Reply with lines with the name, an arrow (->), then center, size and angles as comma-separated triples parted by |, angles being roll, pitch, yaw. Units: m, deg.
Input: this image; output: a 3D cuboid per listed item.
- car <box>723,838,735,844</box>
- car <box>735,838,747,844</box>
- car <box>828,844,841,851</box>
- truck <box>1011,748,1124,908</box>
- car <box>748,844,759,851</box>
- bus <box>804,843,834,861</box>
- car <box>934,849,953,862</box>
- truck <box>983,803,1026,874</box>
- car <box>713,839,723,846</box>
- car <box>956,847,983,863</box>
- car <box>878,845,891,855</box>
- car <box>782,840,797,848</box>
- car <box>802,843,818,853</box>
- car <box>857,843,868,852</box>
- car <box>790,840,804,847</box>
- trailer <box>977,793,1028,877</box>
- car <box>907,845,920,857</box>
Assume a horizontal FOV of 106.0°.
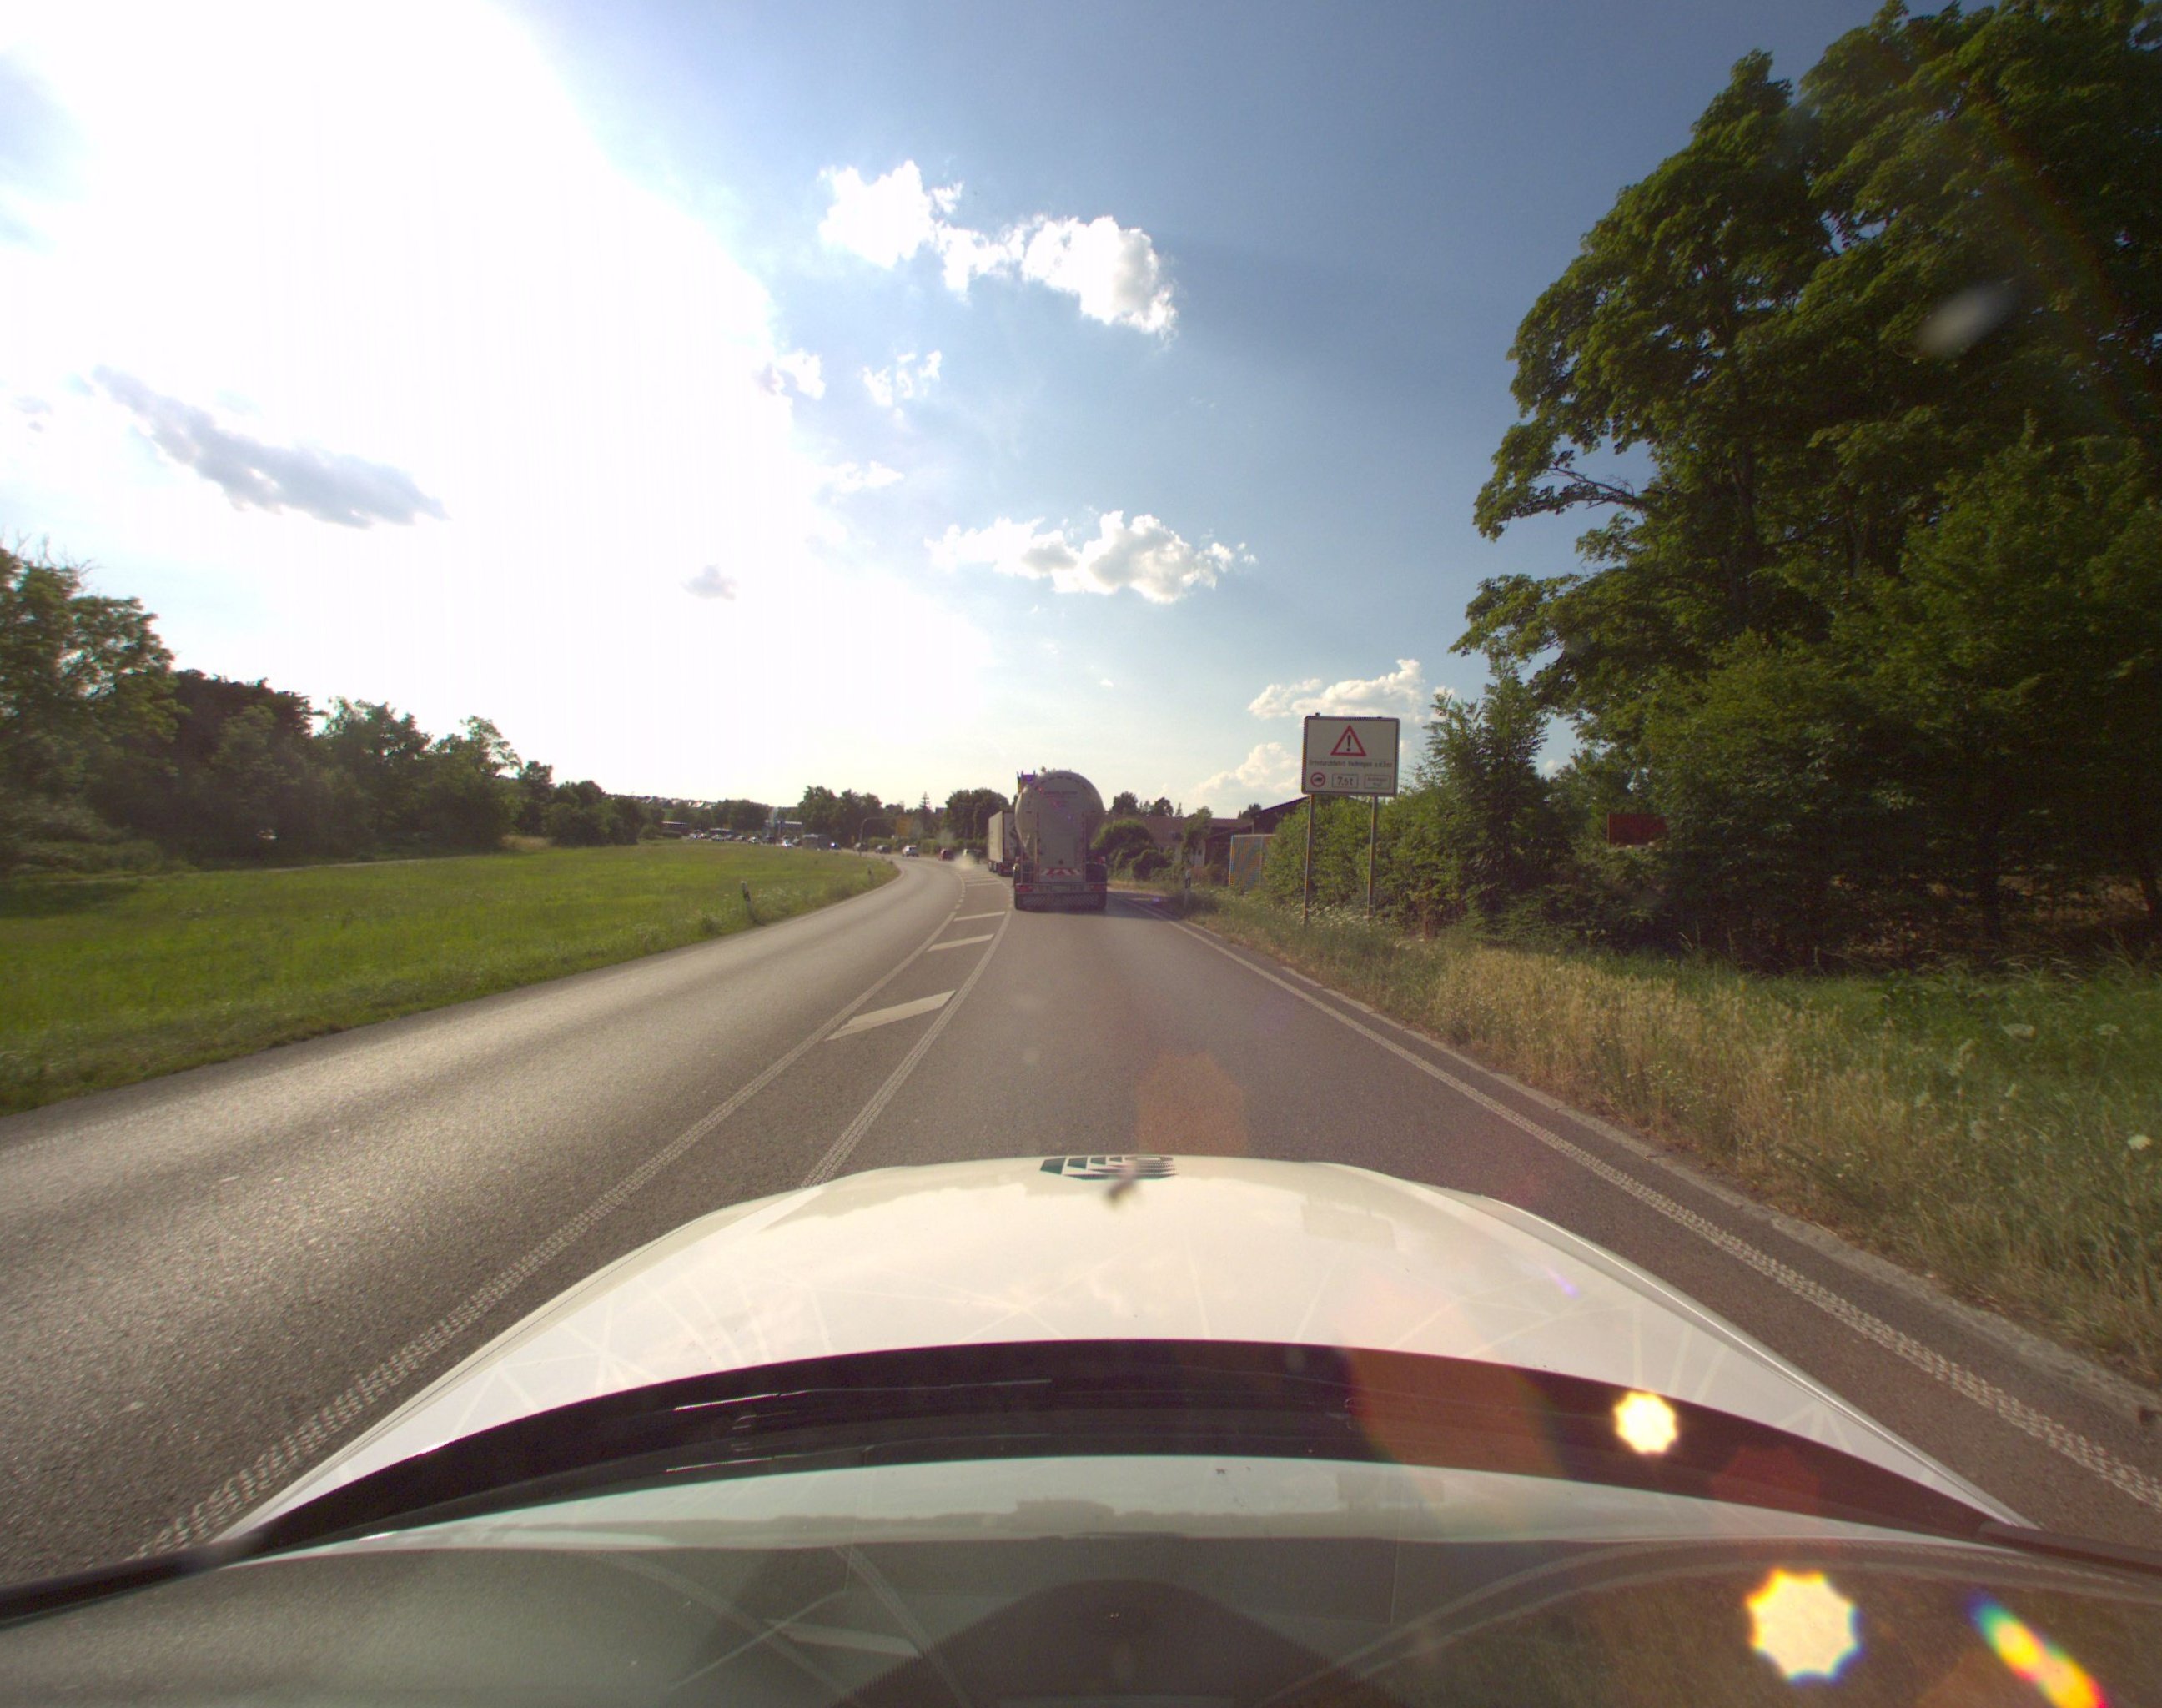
car -> -93.914, -3.383, 217.151 | 1.897, 1.599, 3.953 | 1, 0, -40
car -> -89.041, -3.316, 213.157 | 1.896, 1.599, 3.957 | 1, 0, -36
car -> -50.992, -1.336, 168.436 | 1.688, 1.559, 3.837 | 1, -1, -28
truck -> -0.731, -0.609, 27.135 | 2.970, 4.175, 11.645 | 0, -1, -4
car -> -76.647, -1.552, 190.489 | 1.853, 1.656, 3.961 | 1, -1, -31
bus -> -48.663, -0.234, 150.915 | 2.811, 3.181, 12.010 | 1, -1, -30
car -> -17.880, 0.251, 105.535 | 2.300, 1.656, 4.398 | 0, -1, -11
truck -> -5.532, -1.037, 59.624 | 2.957, 4.886, 6.420 | 0, -1, -4
car -> -91.853, -2.834, 206.180 | 1.853, 1.656, 3.961 | 1, -1, -31
car -> -12.169, 0.139, 89.012 | 2.002, 1.656, 3.970 | 1, -1, -22
car -> -33.994, -0.744, 140.558 | 1.526, 1.656, 3.842 | 1, -1, -23
car -> -61.007, -2.129, 170.296 | 1.855, 1.656, 3.956 | 1, -1, -36
car -> -46.840, -1.094, 140.774 | 1.853, 1.656, 3.961 | 1, -1, -31
car -> -41.008, -1.141, 152.661 | 1.526, 1.656, 3.842 | 1, -1, -23
car -> -64.673, -2.388, 185.290 | 2.099, 1.599, 3.959 | 1, 0, -33
trailer -> -4.956, -1.065, 52.591 | 2.959, 4.882, 10.271 | 0, -1, -4
car -> -25.422, -0.466, 123.707 | 1.844, 1.656, 3.981 | 0, -1, -14
